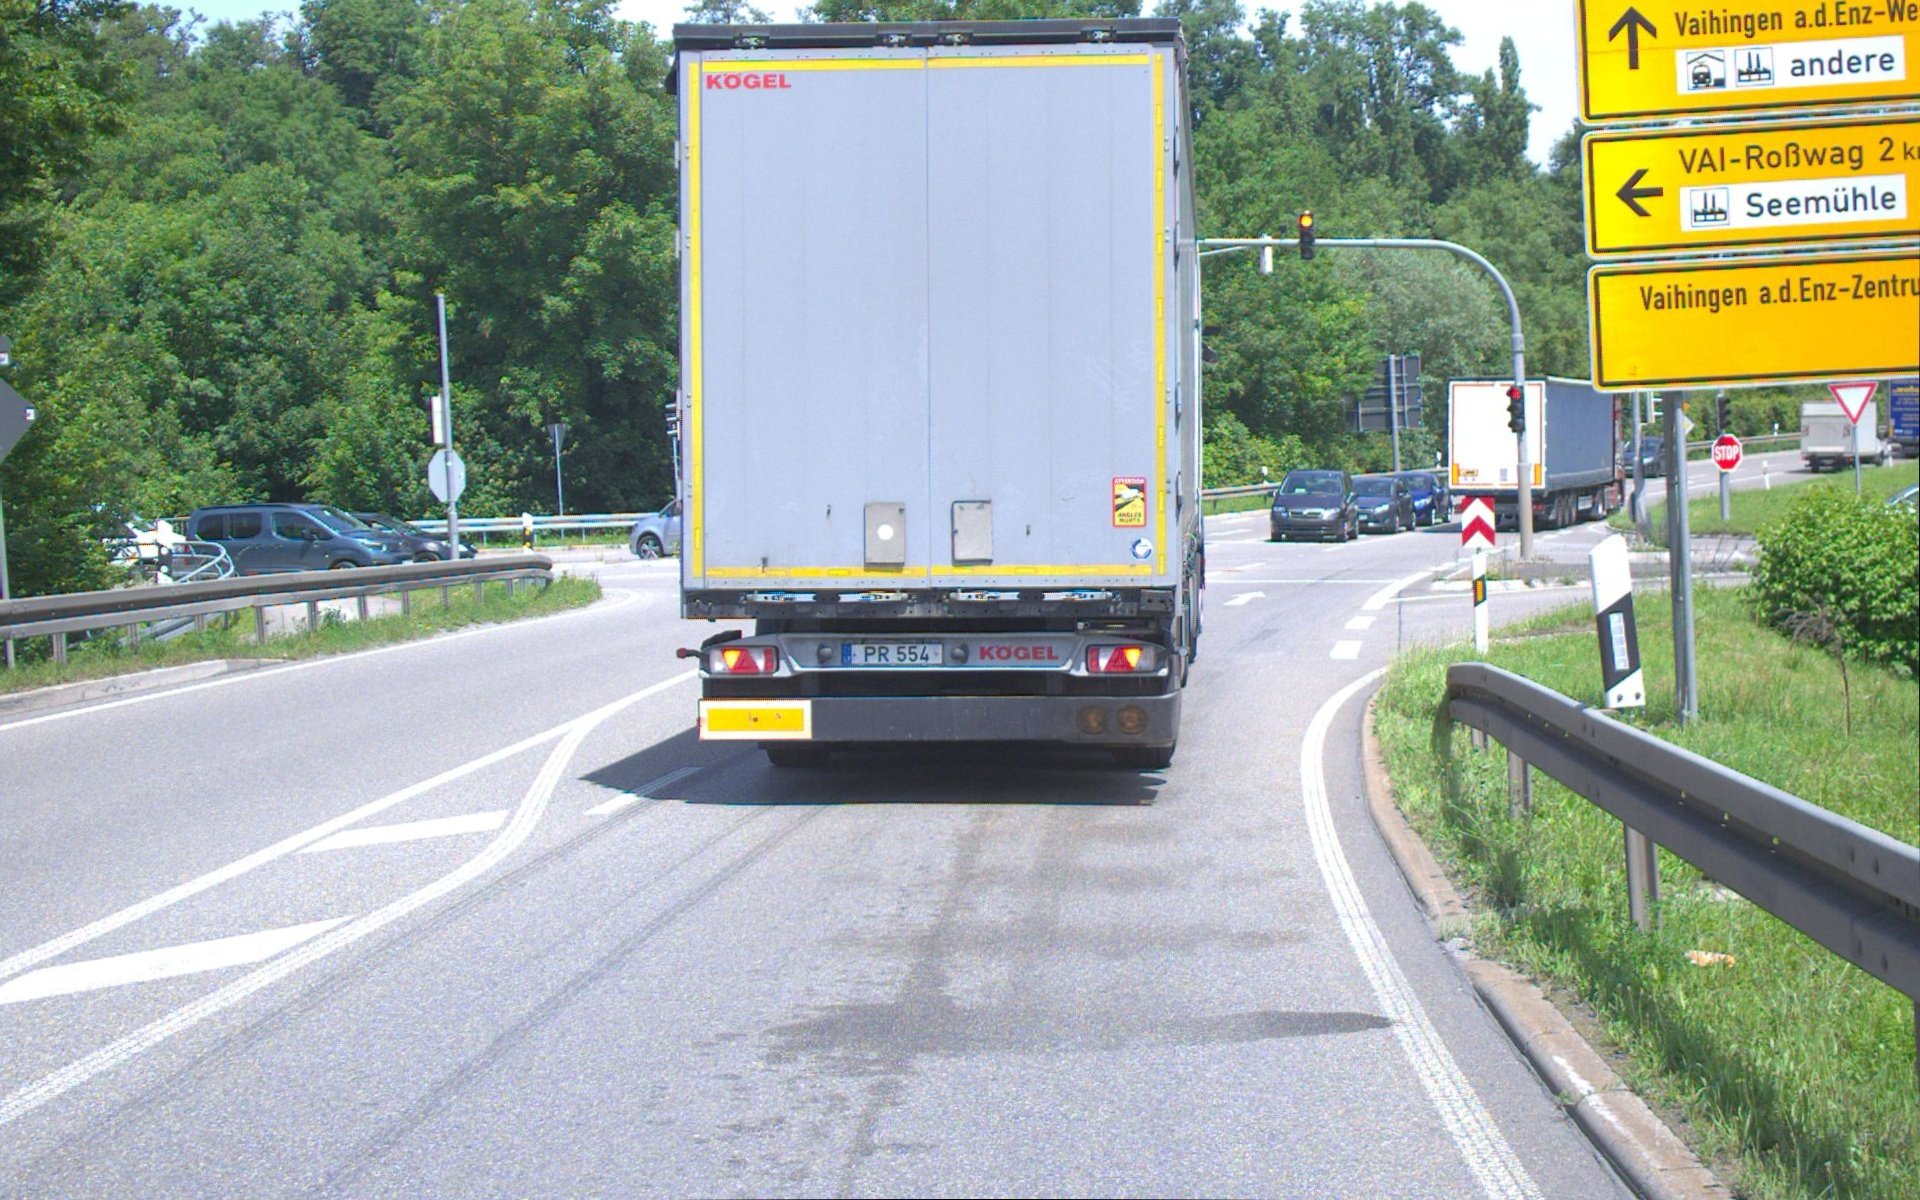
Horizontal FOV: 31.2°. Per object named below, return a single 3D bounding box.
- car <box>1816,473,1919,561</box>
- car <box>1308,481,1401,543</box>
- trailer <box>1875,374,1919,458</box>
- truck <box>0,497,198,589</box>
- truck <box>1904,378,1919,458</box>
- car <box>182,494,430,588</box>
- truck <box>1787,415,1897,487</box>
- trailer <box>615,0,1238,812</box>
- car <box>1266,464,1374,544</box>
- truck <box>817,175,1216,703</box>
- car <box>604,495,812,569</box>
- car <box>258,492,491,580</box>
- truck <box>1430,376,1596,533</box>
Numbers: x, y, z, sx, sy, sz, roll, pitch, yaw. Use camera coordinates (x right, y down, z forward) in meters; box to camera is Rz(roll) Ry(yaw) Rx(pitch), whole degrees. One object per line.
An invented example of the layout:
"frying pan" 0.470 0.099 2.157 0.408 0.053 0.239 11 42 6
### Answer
"car" 19.738 -1.664 69.894 4.430 1.712 1.999 1 0 12
"car" 10.430 -2.300 90.625 1.995 1.485 4.255 1 0 12
"trailer" 45.002 -8.441 158.734 3.256 3.672 9.237 1 2 28
"truck" -18.124 -1.163 69.936 4.875 1.785 2.044 1 0 -5
"truck" 46.999 -8.570 162.420 3.256 3.672 6.235 1 2 28
"car" -12.545 -1.134 66.021 4.237 1.764 1.999 0 1 16
"truck" 37.051 -6.219 144.256 2.860 2.937 7.094 1 2 28
"trailer" 0.221 -1.126 23.136 3.052 4.020 12.558 0 1 4
"car" 8.815 -2.317 83.771 1.995 1.779 4.939 -1 0 13
"truck" 0.638 -1.304 29.576 3.038 4.020 6.629 0 1 4
"car" -5.424 -1.457 74.147 3.991 1.514 1.998 1 0 19
"car" -11.922 -1.308 70.104 4.237 1.764 1.999 0 1 16
"truck" 15.245 -3.932 93.969 3.181 4.015 11.737 0 2 16
